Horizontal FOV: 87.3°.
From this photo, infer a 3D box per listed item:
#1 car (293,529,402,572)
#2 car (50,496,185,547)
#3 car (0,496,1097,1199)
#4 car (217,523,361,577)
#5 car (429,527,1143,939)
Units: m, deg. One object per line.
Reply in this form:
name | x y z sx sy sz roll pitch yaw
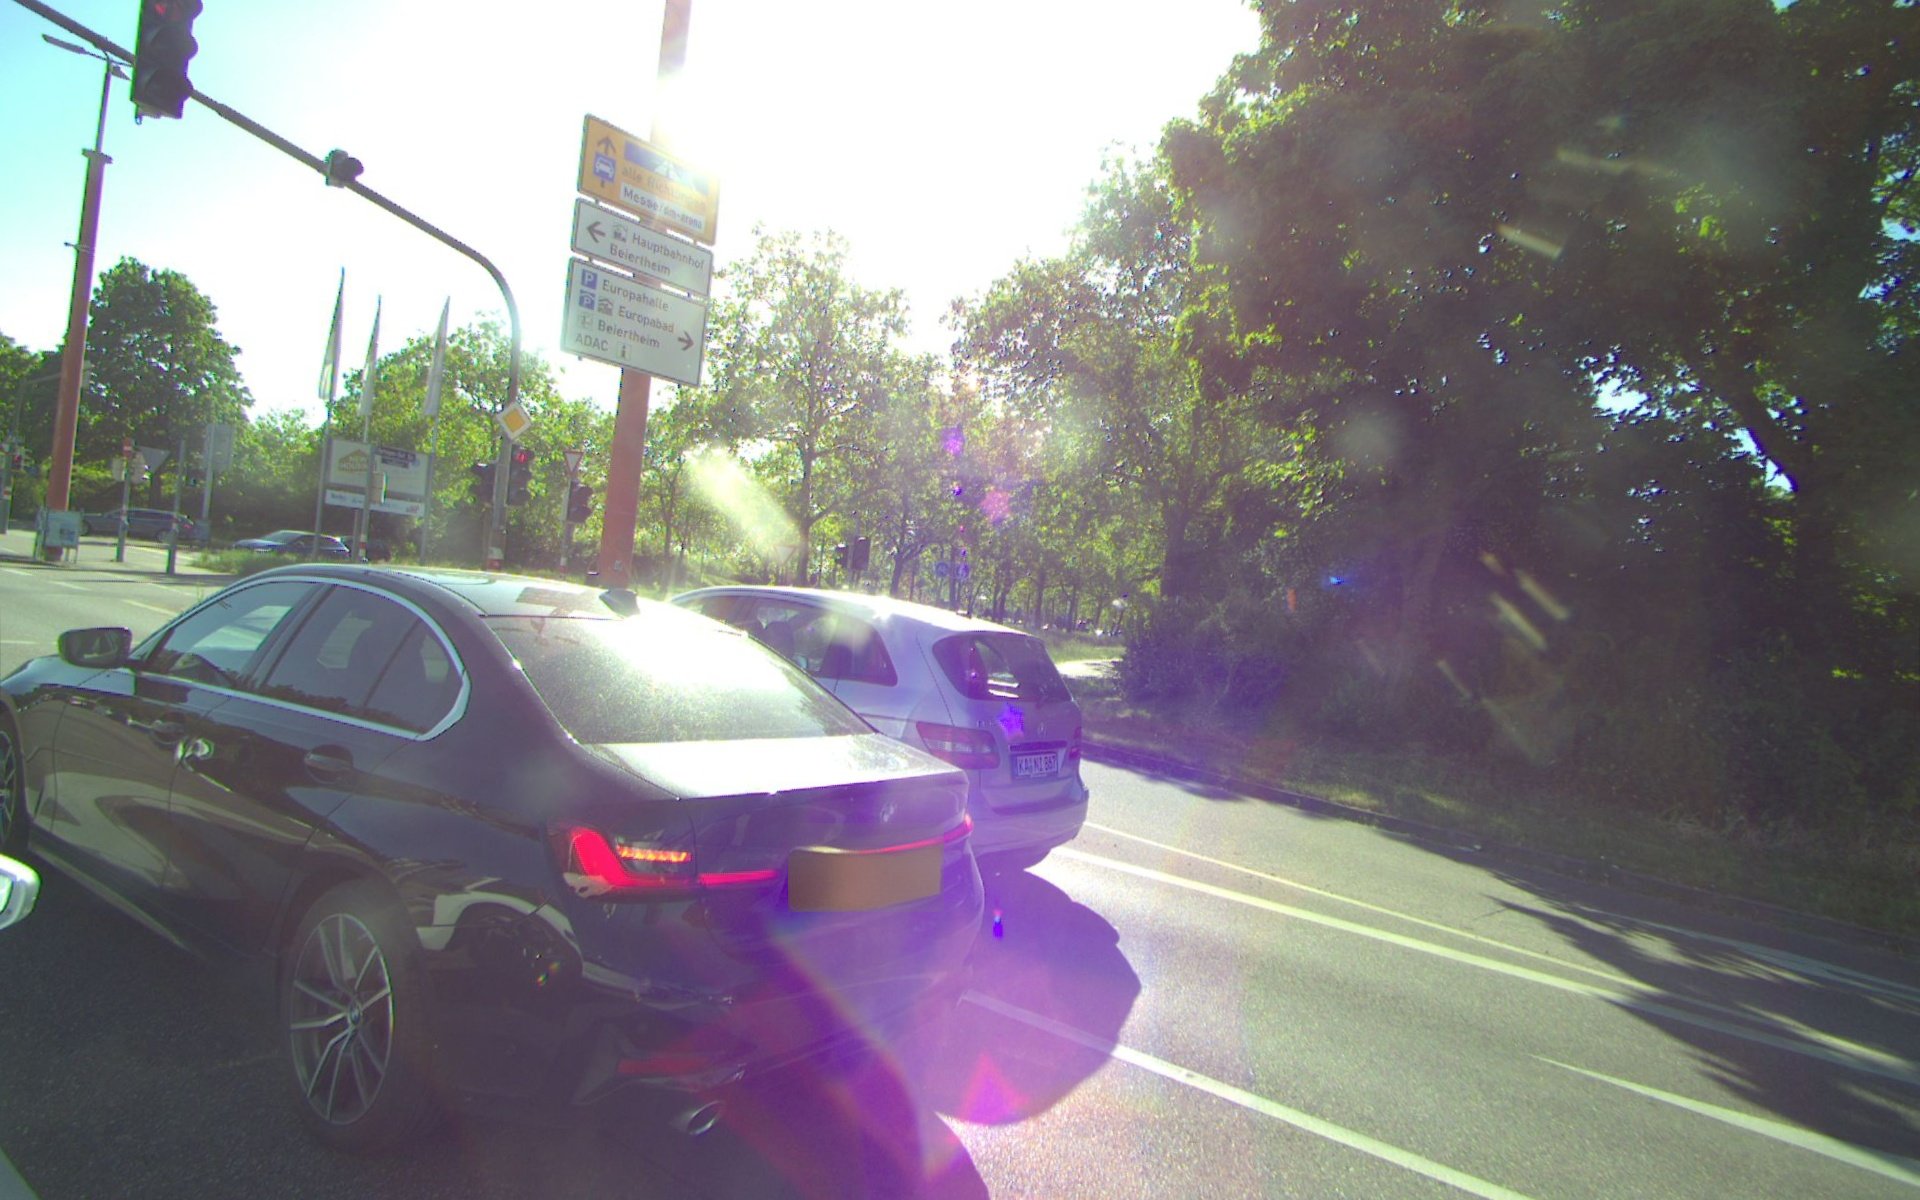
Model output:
car | -32.013 -2.549 52.703 2.127 1.592 4.278 7 -1 26
car | -38.292 -3.566 45.902 4.547 1.592 2.143 8 -1 -39
car | -1.962 0.529 3.881 4.403 1.411 1.996 7 0 32
car | -25.119 -1.816 37.857 1.848 1.445 4.283 7 -1 14
car | -1.284 0.640 6.789 4.403 1.706 1.970 7 -1 32
